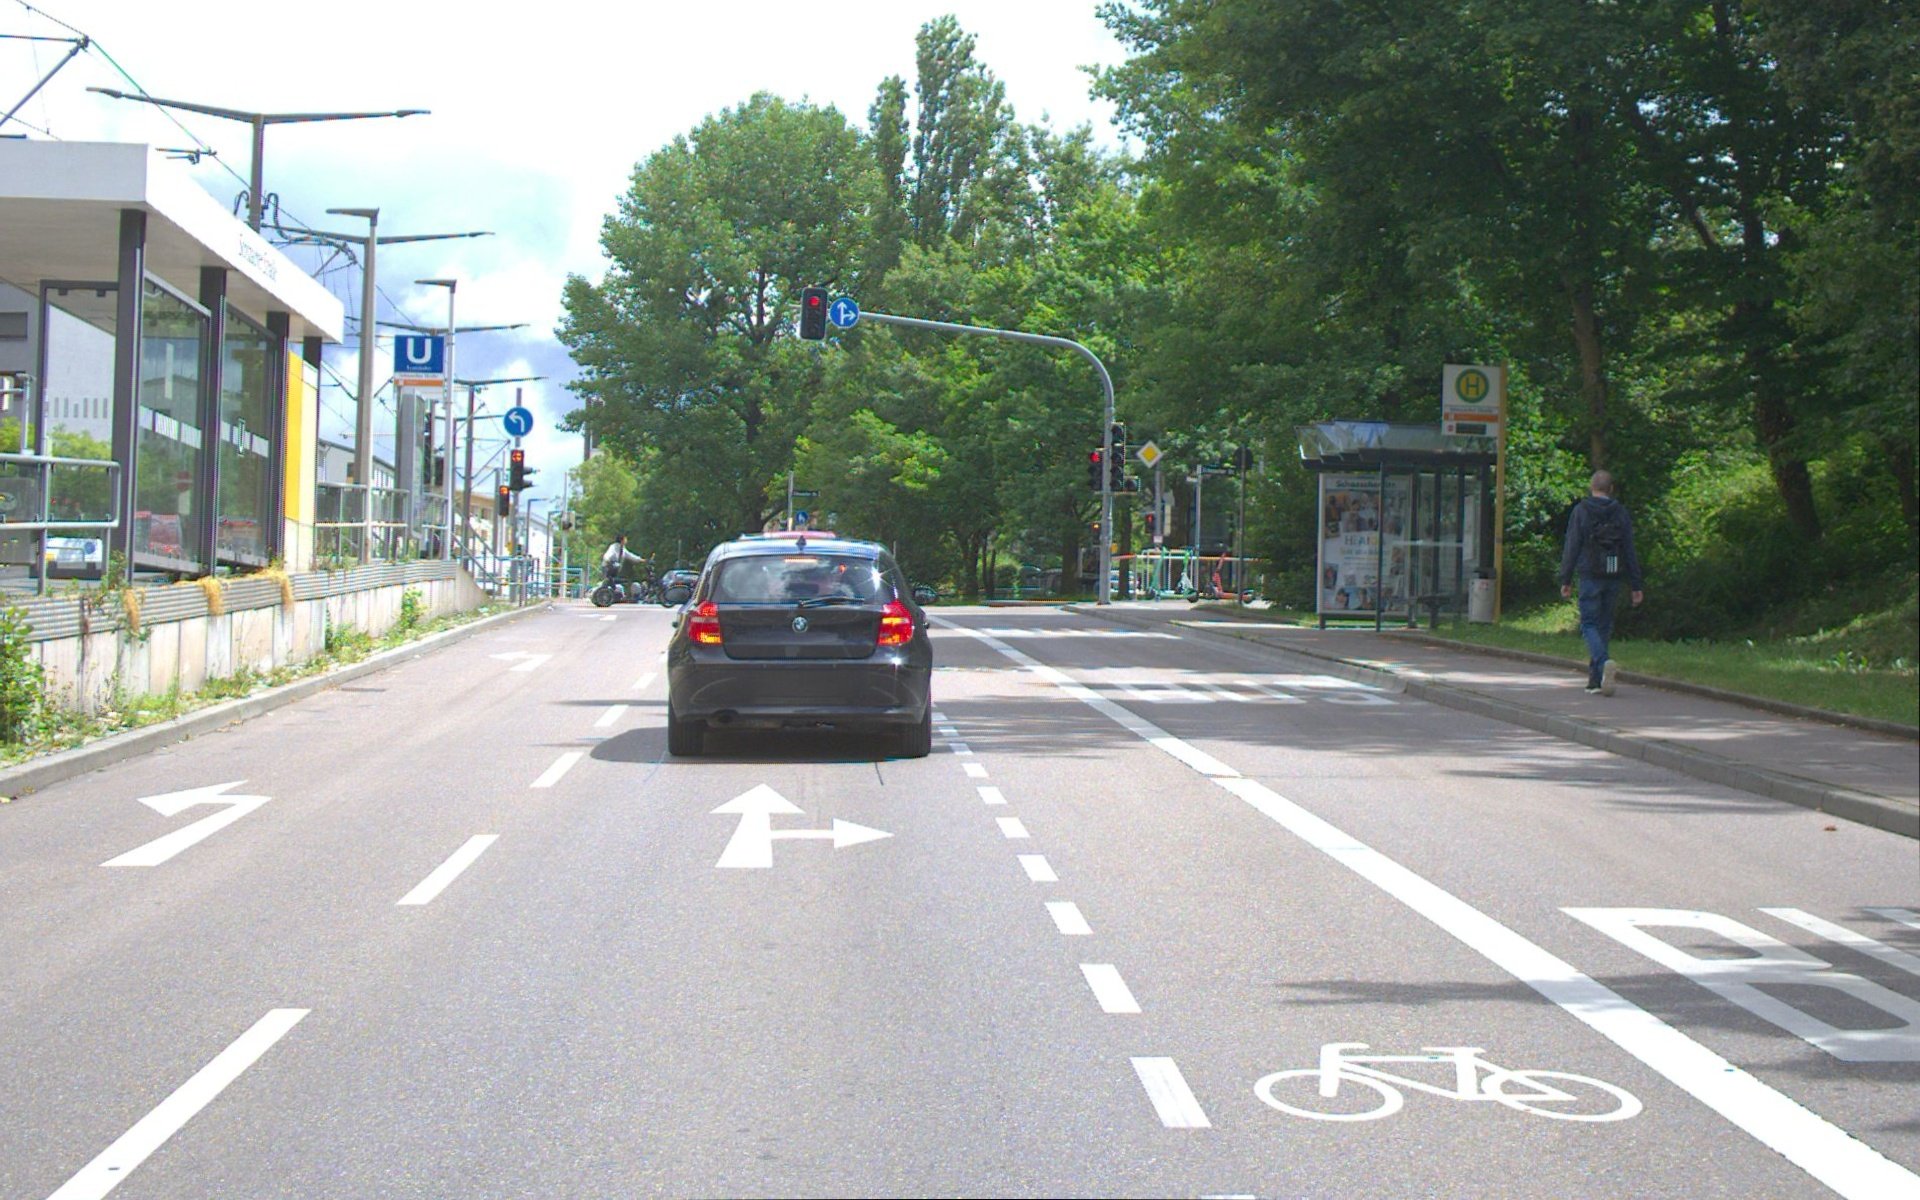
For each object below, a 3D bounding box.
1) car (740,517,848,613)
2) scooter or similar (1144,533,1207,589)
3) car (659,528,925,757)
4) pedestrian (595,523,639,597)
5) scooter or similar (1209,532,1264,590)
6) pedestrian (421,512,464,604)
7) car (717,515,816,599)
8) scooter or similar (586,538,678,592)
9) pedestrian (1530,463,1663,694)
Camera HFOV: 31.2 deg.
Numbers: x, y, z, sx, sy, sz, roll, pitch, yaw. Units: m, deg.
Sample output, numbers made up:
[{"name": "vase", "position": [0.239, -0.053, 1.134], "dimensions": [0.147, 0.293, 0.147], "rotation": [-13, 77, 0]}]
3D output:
[{"name": "car", "position": [-2.535, -0.559, 52.885], "dimensions": [1.594, 1.414, 3.517], "rotation": [1, 1, -2]}, {"name": "scooter or similar", "position": [4.567, -0.820, 72.843], "dimensions": [1.287, 1.185, 0.385], "rotation": [0, 1, -18]}, {"name": "car", "position": [-1.085, 0.232, 23.288], "dimensions": [1.654, 1.414, 3.517], "rotation": [1, 1, -1]}, {"name": "pedestrian", "position": [-6.802, -0.797, 68.184], "dimensions": [0.865, 1.437, 0.799], "rotation": [0, 1, -6]}, {"name": "scooter or similar", "position": [5.927, -0.836, 73.664], "dimensions": [1.106, 1.253, 0.332], "rotation": [0, 1, -14]}, {"name": "pedestrian", "position": [-9.236, -0.753, 61.371], "dimensions": [0.701, 1.627, 0.638], "rotation": [0, 1, -4]}, {"name": "car", "position": [-3.397, -0.760, 59.912], "dimensions": [1.654, 1.414, 3.517], "rotation": [1, 1, -4]}, {"name": "scooter or similar", "position": [-6.459, -0.686, 67.700], "dimensions": [1.780, 1.047, 0.410], "rotation": [0, 1, -11]}, {"name": "pedestrian", "position": [5.363, -0.188, 29.037], "dimensions": [0.801, 1.889, 1.270], "rotation": [2, 1, -2]}]
